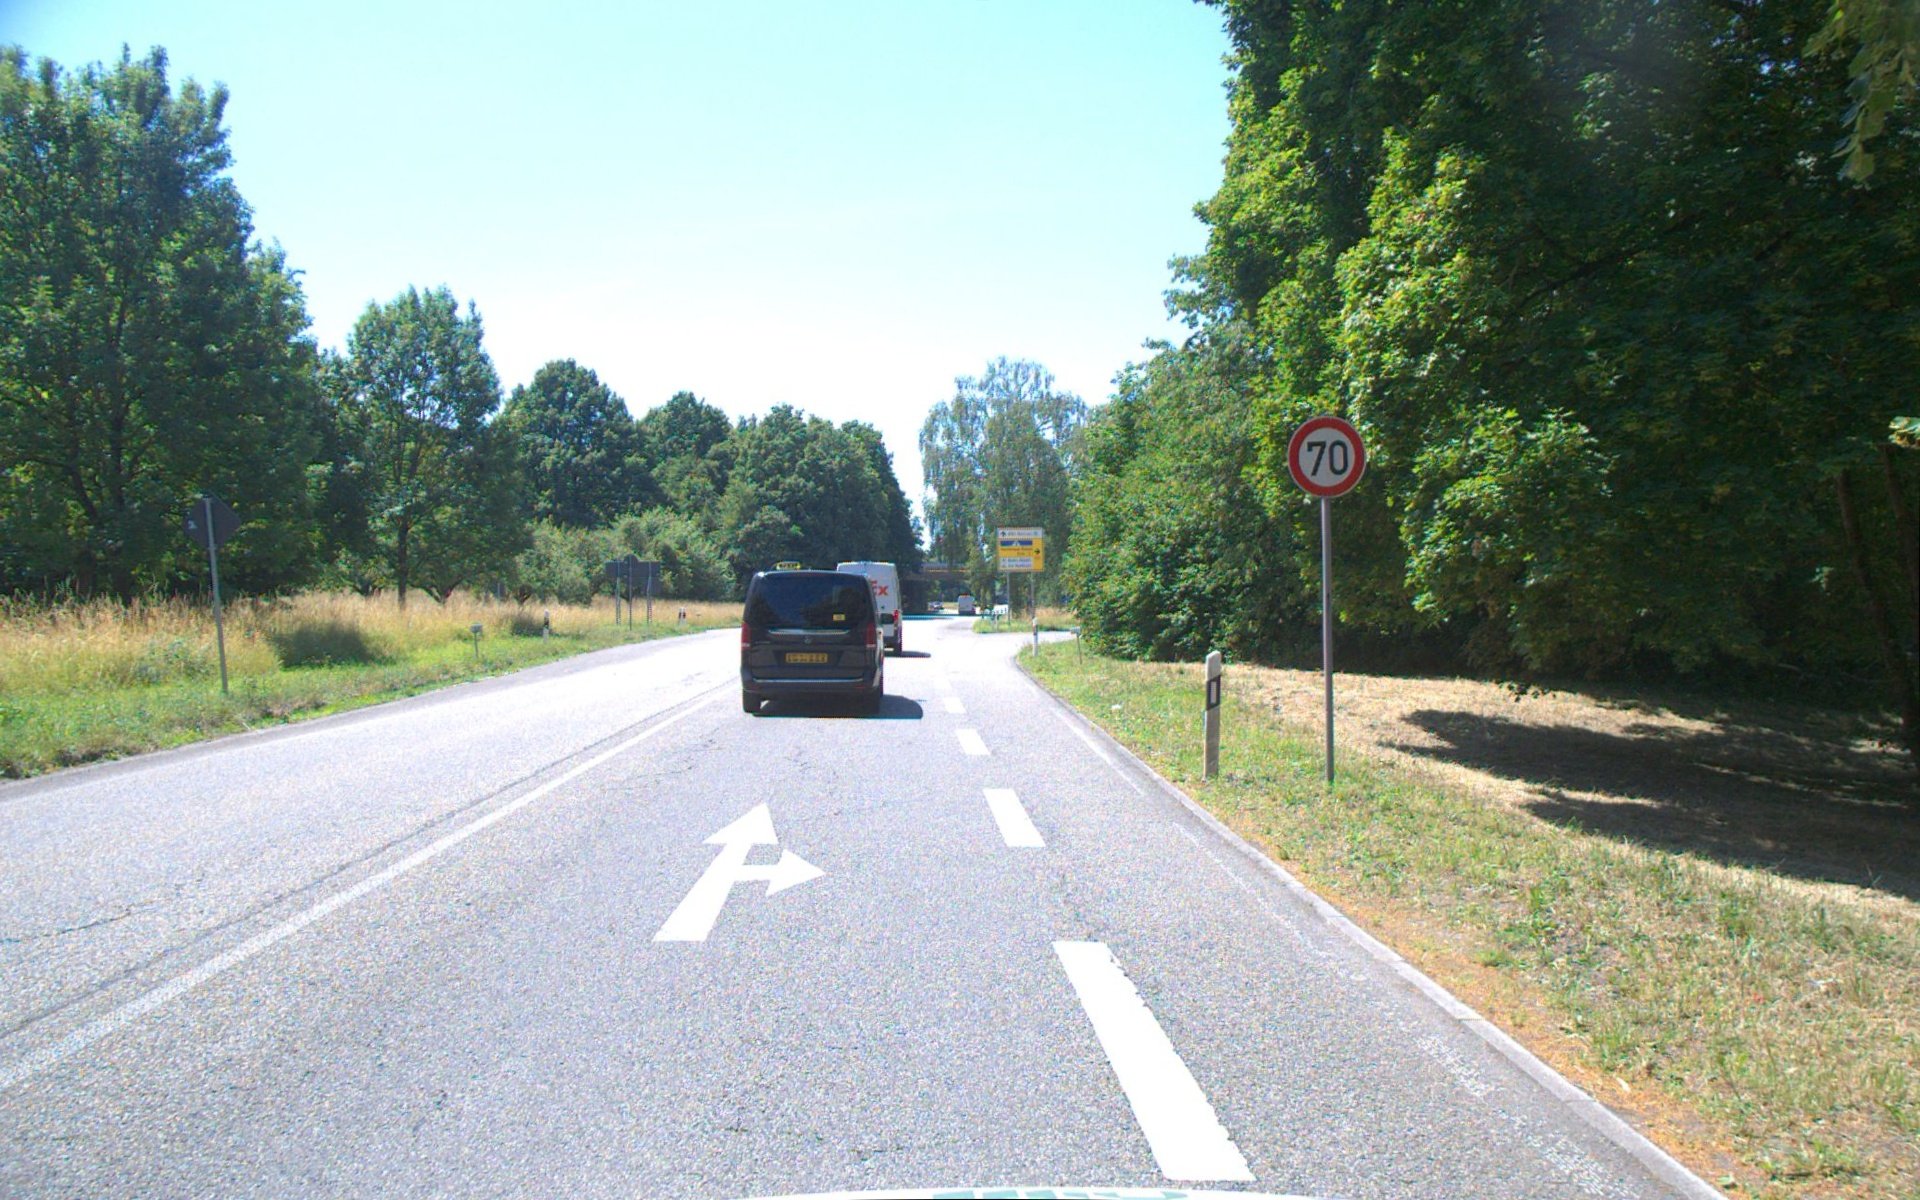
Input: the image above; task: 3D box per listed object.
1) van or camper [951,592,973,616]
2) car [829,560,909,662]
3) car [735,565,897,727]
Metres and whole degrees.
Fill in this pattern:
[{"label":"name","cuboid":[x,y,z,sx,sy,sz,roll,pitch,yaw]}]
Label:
[{"label":"van or camper","cuboid":[0.281,0.557,216.253,2.579,2.980,5.203,1,-1,-3]},{"label":"car","cuboid":[-2.567,0.316,47.703,2.036,2.750,4.665,2,0,-1]},{"label":"car","cuboid":[-1.907,0.594,23.405,1.953,1.987,5.003,2,0,-2]}]
